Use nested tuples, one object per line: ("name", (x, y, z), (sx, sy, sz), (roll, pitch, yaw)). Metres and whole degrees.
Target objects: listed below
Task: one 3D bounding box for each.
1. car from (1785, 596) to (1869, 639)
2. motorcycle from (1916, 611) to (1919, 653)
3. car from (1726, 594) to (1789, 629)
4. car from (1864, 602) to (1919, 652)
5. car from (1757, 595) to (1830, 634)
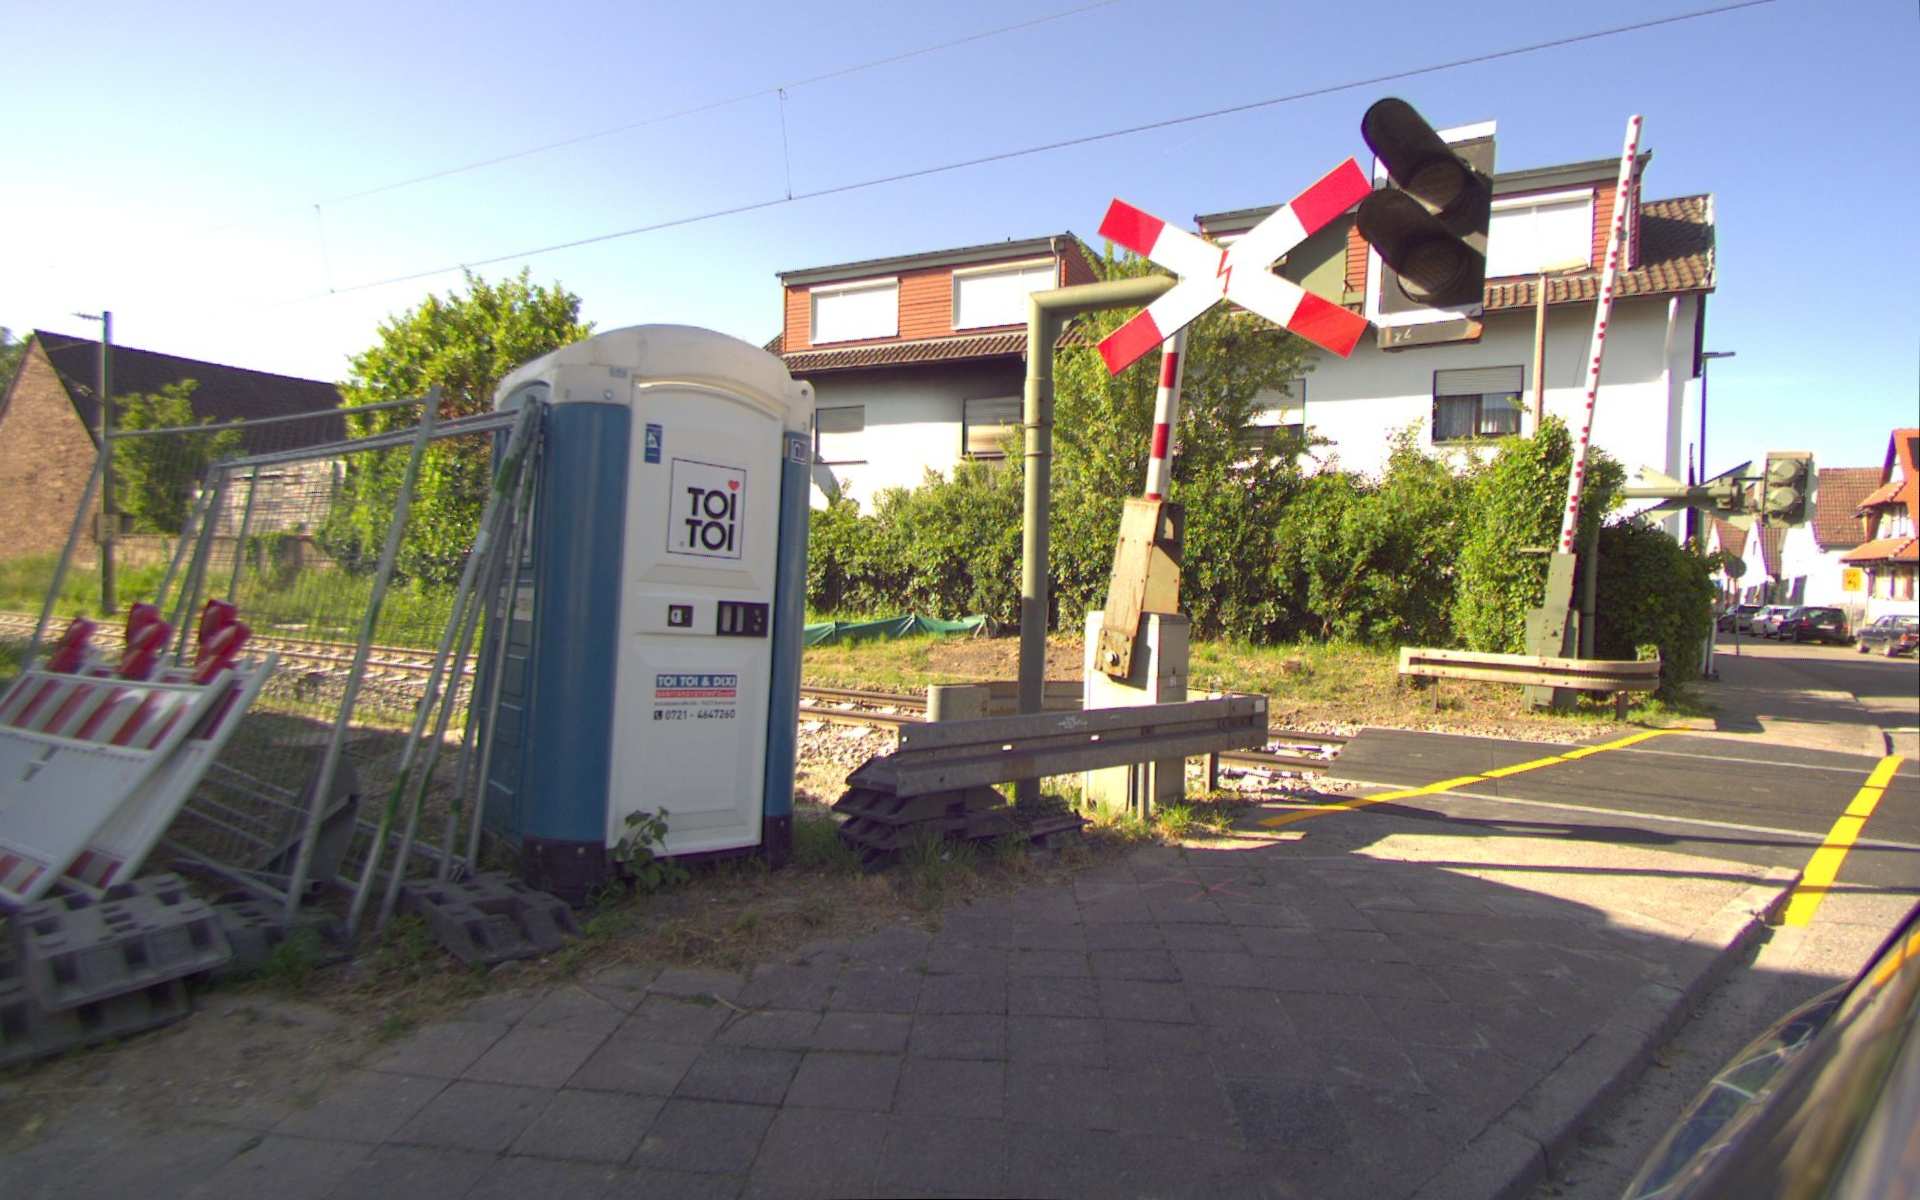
("car", (36.735, 0.691, 43.001), (1.774, 1.624, 4.318), (2, 2, 28))
("motorcycle", (29.686, 1.017, 29.912), (0.613, 1.247, 1.999), (2, 1, -17))
("car", (42.240, 0.568, 53.670), (1.731, 1.633, 3.965), (2, 2, 26))
("car", (31.348, 0.894, 32.816), (1.834, 1.423, 4.987), (4, 3, 28))
("car", (39.211, 0.640, 47.714), (1.806, 1.586, 4.127), (2, 2, 28))
